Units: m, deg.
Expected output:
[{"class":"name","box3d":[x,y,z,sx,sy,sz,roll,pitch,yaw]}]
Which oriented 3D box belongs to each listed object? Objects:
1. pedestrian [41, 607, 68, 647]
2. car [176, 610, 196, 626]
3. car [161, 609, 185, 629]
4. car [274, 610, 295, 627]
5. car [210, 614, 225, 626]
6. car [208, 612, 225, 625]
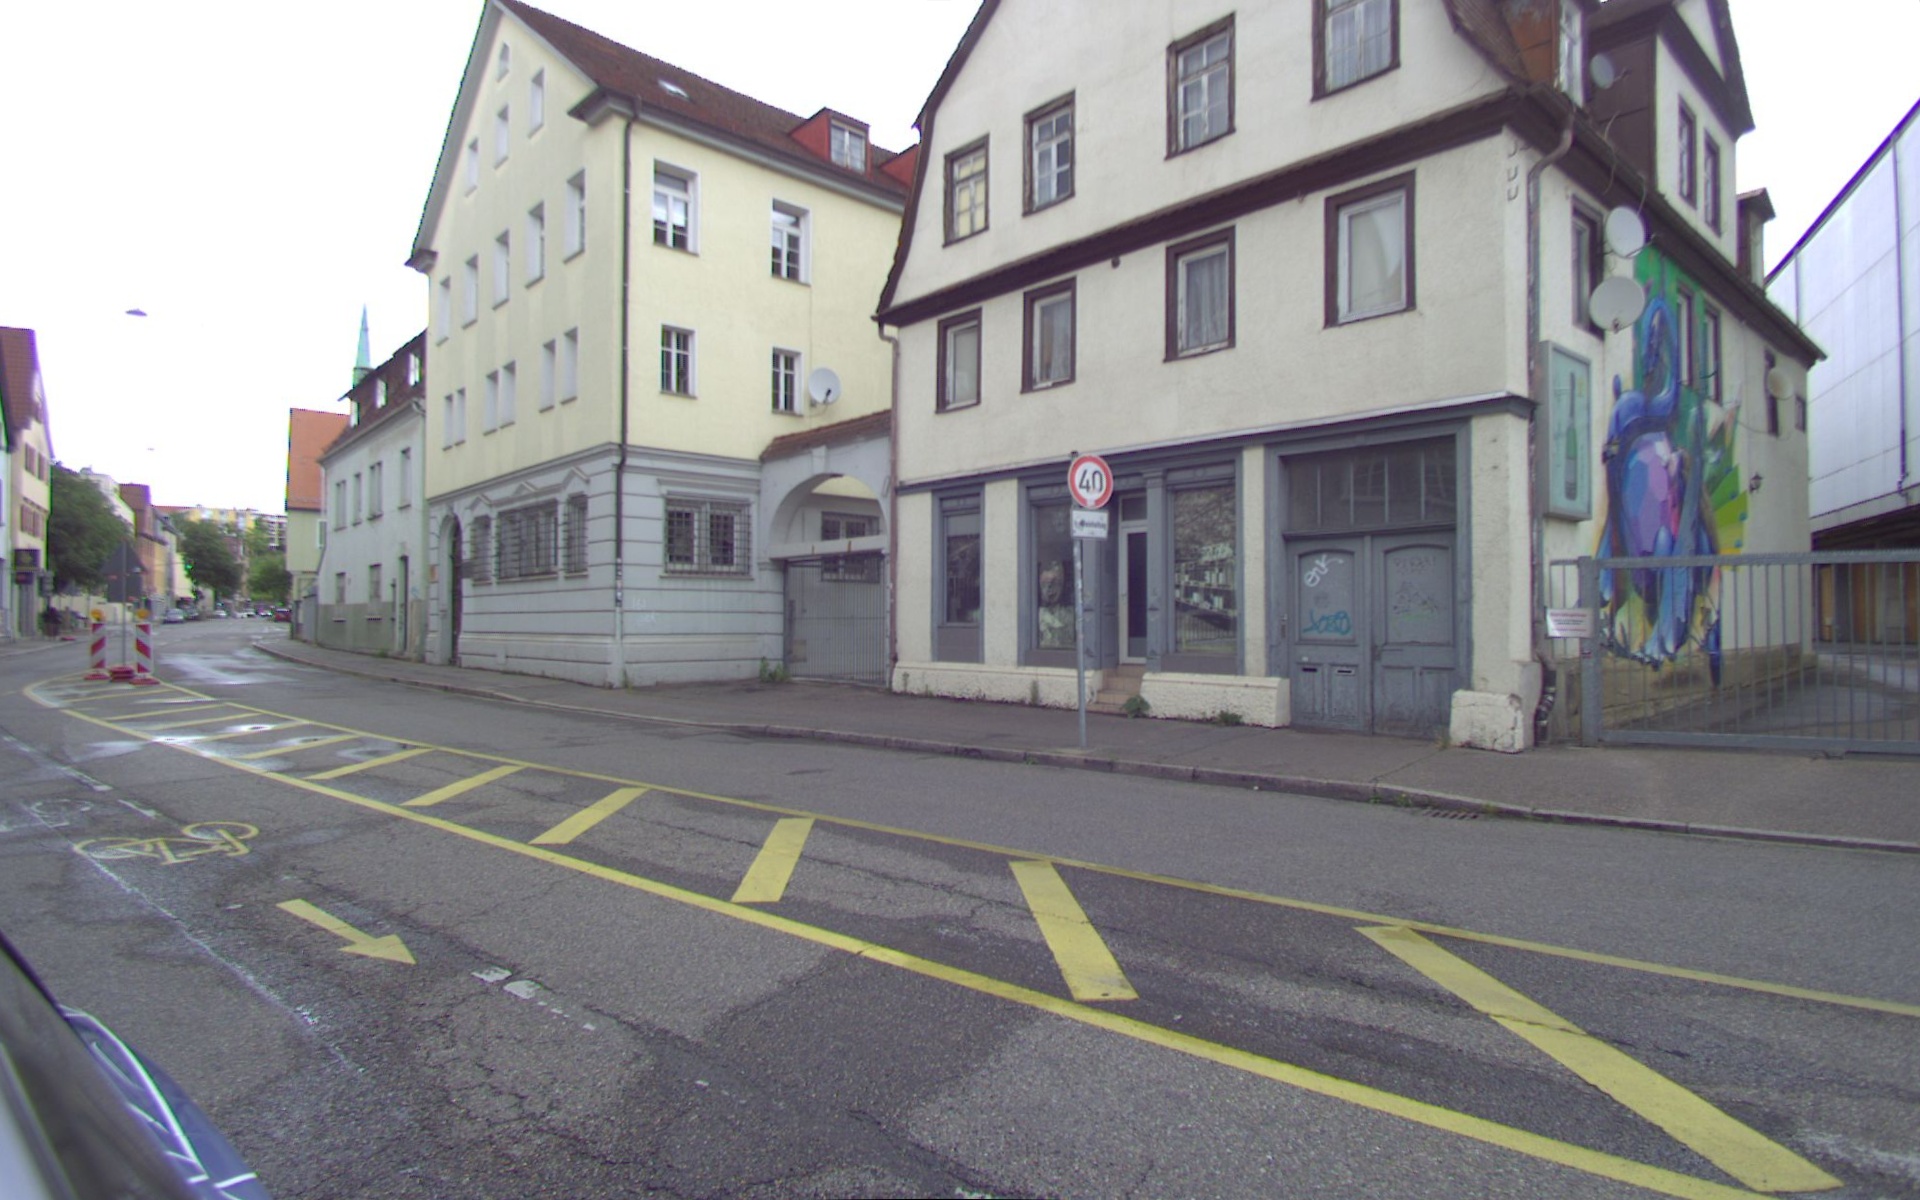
[{"class":"pedestrian","box3d":[-43.707,1.283,48.859,0.864,1.914,0.899,1,-2,-36]},{"class":"car","box3d":[-96.977,2.267,126.804,1.967,2.029,4.009,1,-2,-37]},{"class":"car","box3d":[-84.792,2.075,109.042,1.967,2.029,4.009,1,-2,-37]},{"class":"car","box3d":[-85.664,2.348,128.357,2.027,2.029,4.009,1,-2,-37]},{"class":"car","box3d":[-123.516,3.346,168.291,1.967,2.029,4.009,1,-2,-37]},{"class":"car","box3d":[-114.770,2.883,156.220,1.967,2.029,4.009,1,-2,-37]}]
